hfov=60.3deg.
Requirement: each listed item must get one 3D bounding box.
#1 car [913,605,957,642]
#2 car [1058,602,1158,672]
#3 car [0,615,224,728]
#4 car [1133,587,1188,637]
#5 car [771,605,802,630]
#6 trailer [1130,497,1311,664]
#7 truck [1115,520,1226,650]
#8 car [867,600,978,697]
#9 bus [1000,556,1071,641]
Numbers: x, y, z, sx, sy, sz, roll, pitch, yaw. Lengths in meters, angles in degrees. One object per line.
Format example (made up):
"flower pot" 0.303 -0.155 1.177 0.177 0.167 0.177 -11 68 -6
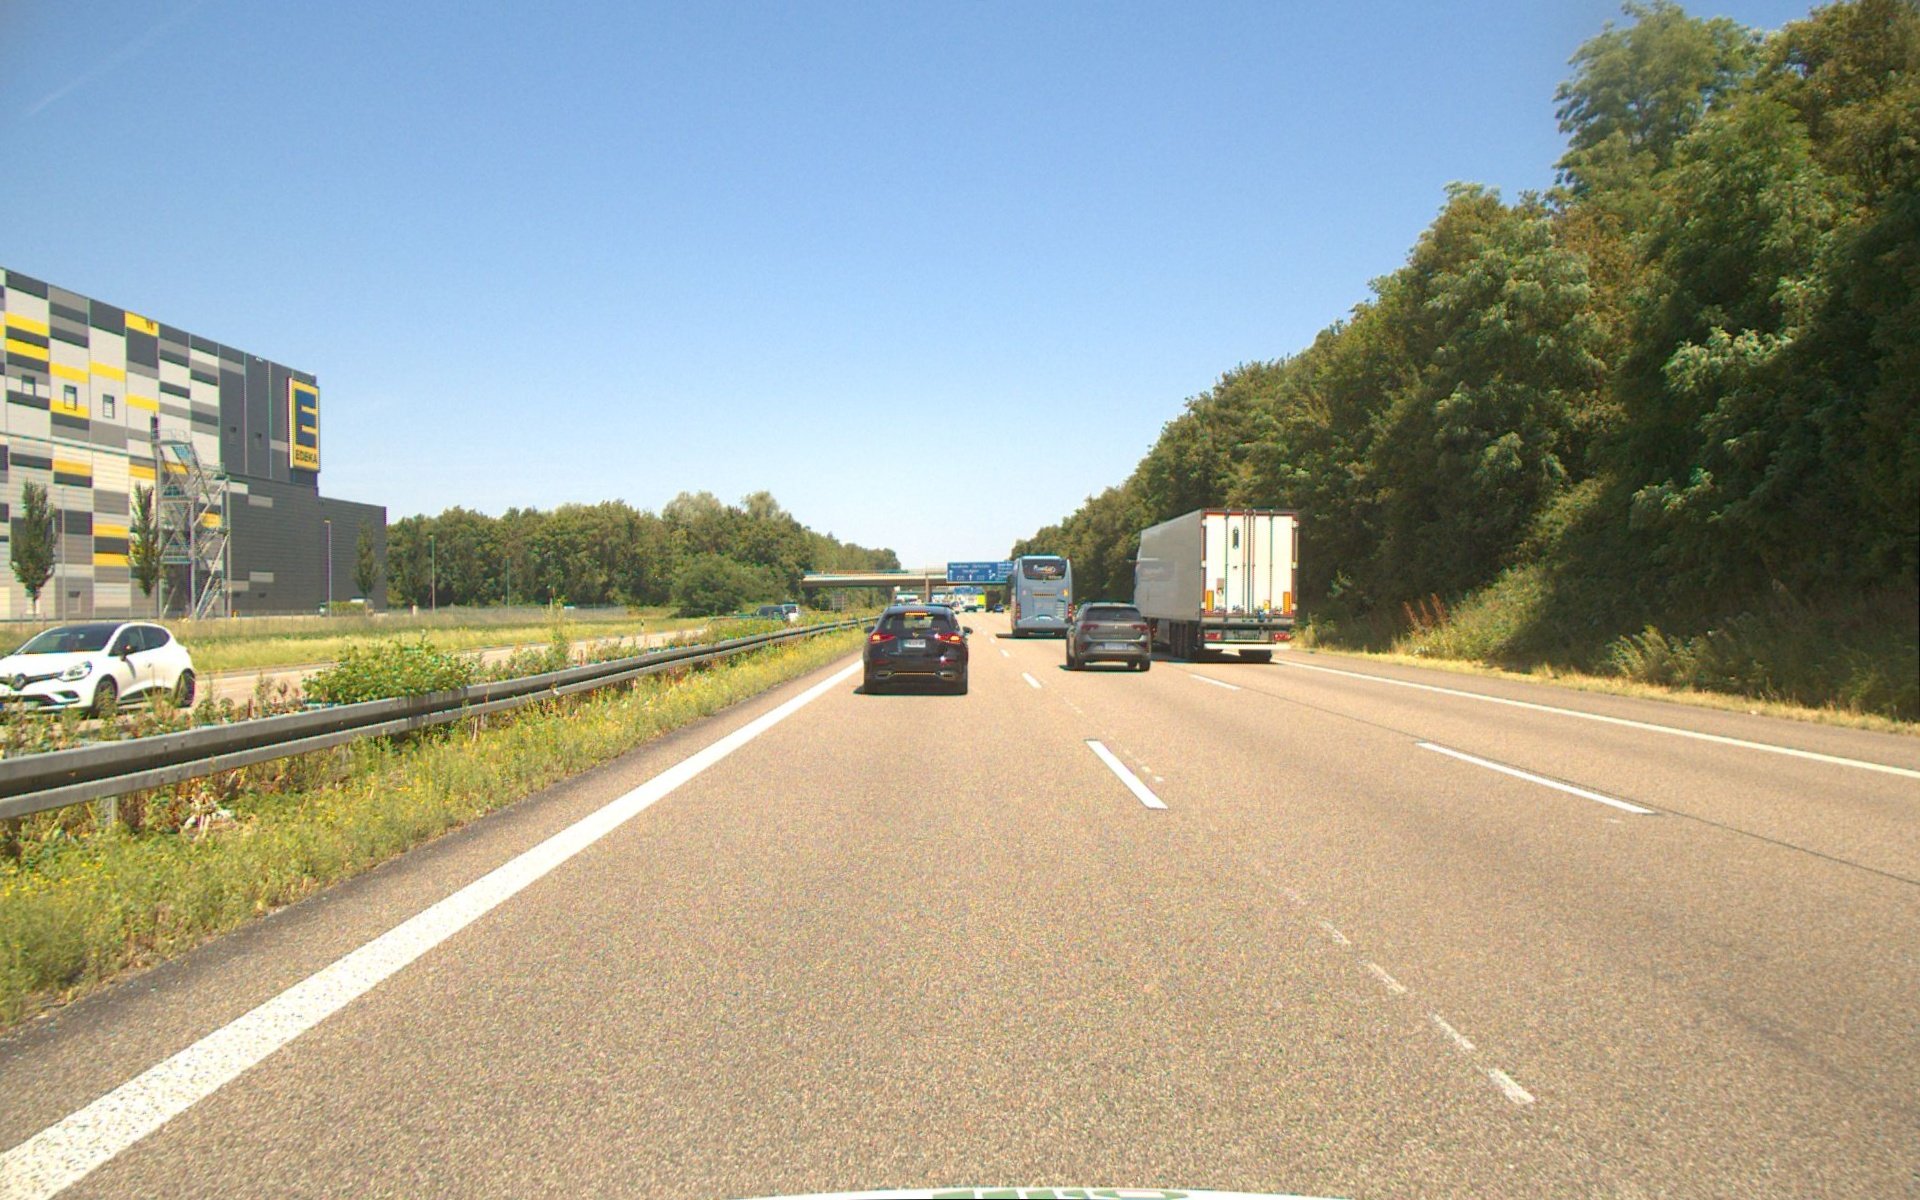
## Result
"car" -1.105 1.009 72.975 1.861 1.559 4.240 0 0 -1
"car" 3.477 0.845 39.593 1.861 1.559 4.758 0 0 -1
"car" -13.449 1.051 25.985 1.762 1.559 4.483 -1 0 0
"car" 8.994 0.532 74.324 1.861 2.157 4.240 0 0 -1
"car" -11.760 1.172 112.345 1.623 1.610 4.334 -2 0 0
"trailer" 7.475 -0.501 49.802 2.978 4.298 13.832 1 0 -1
"truck" 7.298 -0.498 58.196 2.986 4.289 6.047 1 0 -1
"car" -0.647 0.775 28.570 1.763 1.528 4.240 0 0 -1
"bus" 3.454 -0.021 78.098 2.745 3.659 12.473 0 0 0
